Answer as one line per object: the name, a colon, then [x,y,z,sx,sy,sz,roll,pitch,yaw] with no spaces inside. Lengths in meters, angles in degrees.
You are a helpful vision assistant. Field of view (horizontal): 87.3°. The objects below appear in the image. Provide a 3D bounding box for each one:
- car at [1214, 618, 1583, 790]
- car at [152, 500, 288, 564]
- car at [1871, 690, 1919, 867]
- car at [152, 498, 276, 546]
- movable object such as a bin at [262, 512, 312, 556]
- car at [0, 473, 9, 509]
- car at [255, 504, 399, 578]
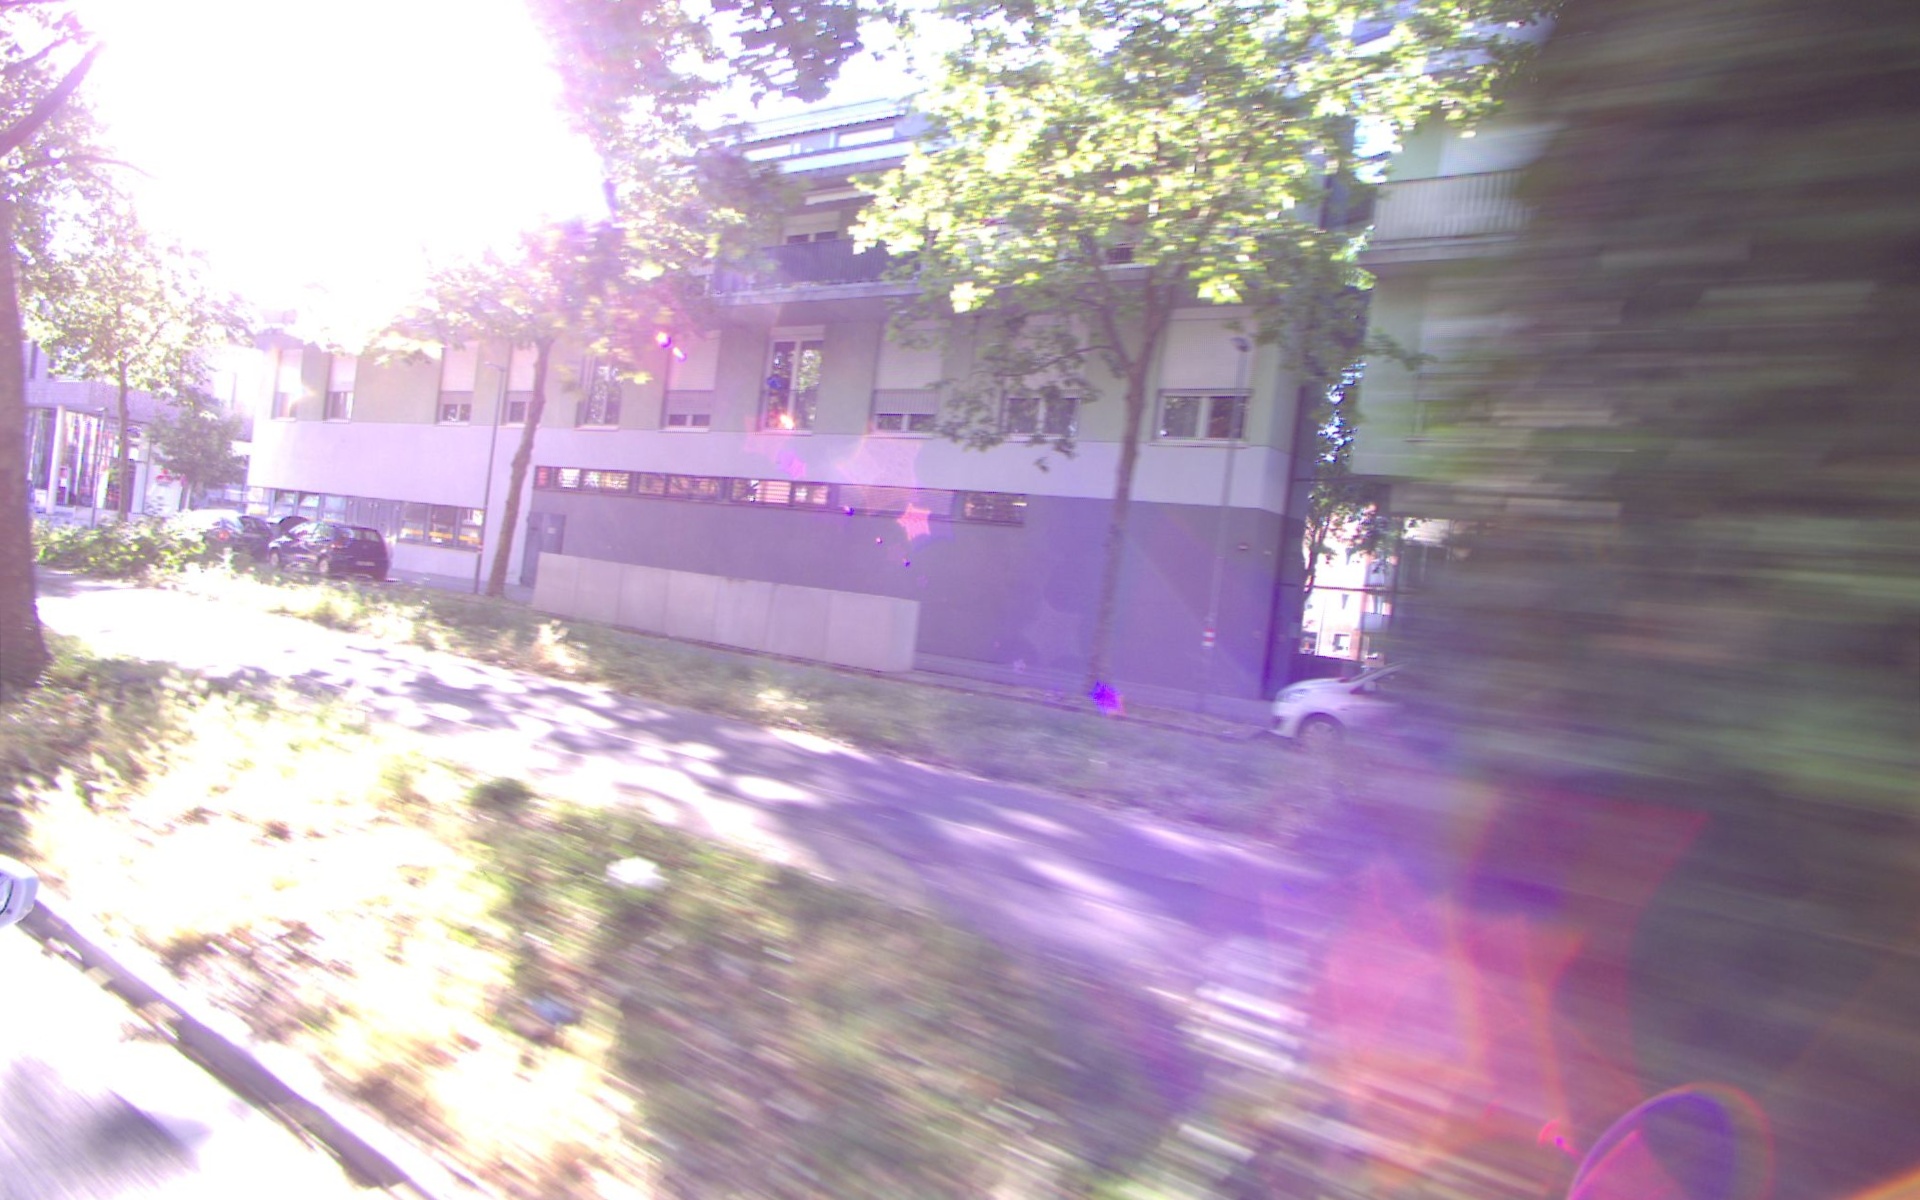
car: [5.927,1.312,13.790,4.247,1.562,1.861,7,0,31]
car: [-23.201,-2.131,31.528,4.053,1.487,1.862,7,0,29]
car: [12.050,2.093,9.795,4.247,1.793,1.907,7,0,31]
car: [-37.270,-3.870,50.403,1.995,1.683,4.490,8,1,28]
movable object such as a bin: [-25.572,-2.503,38.219,1.388,1.481,1.191,7,1,42]
car: [-50.304,-5.742,50.977,4.110,1.755,1.988,7,0,31]
car: [-17.750,-1.655,28.193,3.696,1.572,1.861,7,0,31]
